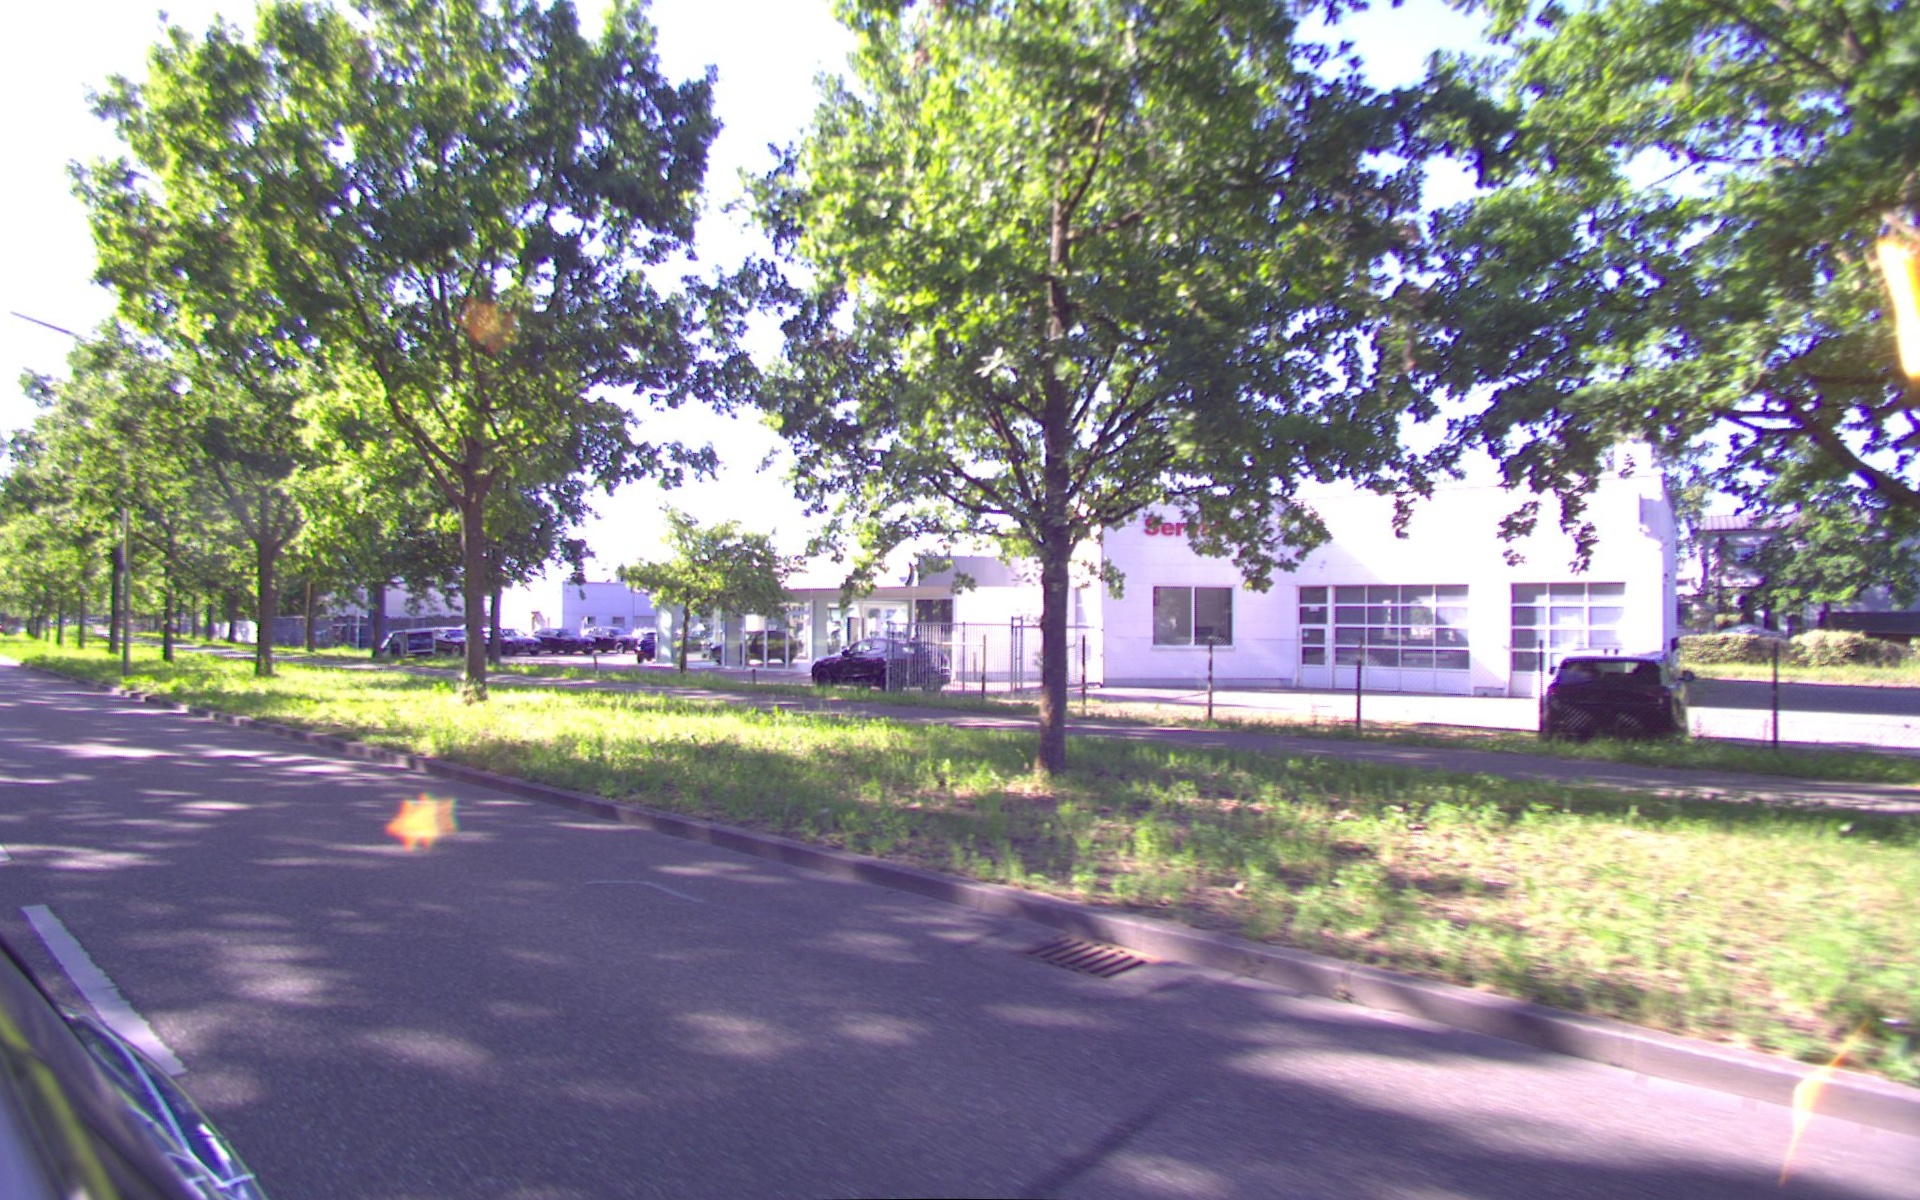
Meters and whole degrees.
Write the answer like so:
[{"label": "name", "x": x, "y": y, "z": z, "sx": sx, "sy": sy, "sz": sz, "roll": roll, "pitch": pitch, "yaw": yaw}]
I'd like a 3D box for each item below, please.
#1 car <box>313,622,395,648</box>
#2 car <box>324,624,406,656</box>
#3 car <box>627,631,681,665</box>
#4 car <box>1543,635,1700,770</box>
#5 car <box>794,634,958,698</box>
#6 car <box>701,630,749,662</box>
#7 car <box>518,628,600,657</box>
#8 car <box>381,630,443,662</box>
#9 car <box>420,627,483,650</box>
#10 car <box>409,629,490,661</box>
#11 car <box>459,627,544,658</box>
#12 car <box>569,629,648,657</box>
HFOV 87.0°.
[{"label": "car", "x": -39.359, "y": 2.270, "z": 65.801, "sx": 4.261, "sy": 1.530, "sz": 1.863, "roll": -1, "pitch": 0, "yaw": -45}, {"label": "car", "x": -36.057, "y": 2.380, "z": 61.417, "sx": 3.940, "sy": 1.755, "sz": 2.002, "roll": -1, "pitch": 0, "yaw": -44}, {"label": "car", "x": -15.935, "y": 2.488, "z": 52.990, "sx": 1.968, "sy": 1.673, "sz": 5.269, "roll": -1, "pitch": -2, "yaw": -9}, {"label": "car", "x": 11.194, "y": 1.584, "z": 17.095, "sx": 1.995, "sy": 1.815, "sz": 3.953, "roll": -1, "pitch": 0, "yaw": 35}, {"label": "car", "x": -2.570, "y": 1.887, "z": 30.136, "sx": 5.013, "sy": 1.610, "sz": 1.972, "roll": -1, "pitch": 0, "yaw": 42}, {"label": "car", "x": -13.005, "y": 2.522, "z": 55.766, "sx": 1.965, "sy": 1.673, "sz": 5.025, "roll": 0, "pitch": -2, "yaw": -20}, {"label": "car", "x": -25.099, "y": 2.630, "z": 63.283, "sx": 5.240, "sy": 1.702, "sz": 1.979, "roll": -1, "pitch": 0, "yaw": 31}, {"label": "car", "x": -26.176, "y": 2.183, "z": 48.362, "sx": 2.531, "sy": 1.481, "sz": 1.430, "roll": 1, "pitch": -2, "yaw": -30}, {"label": "car", "x": -38.465, "y": 2.899, "z": 76.567, "sx": 3.941, "sy": 1.530, "sz": 1.752, "roll": -1, "pitch": 0, "yaw": -45}, {"label": "car", "x": -29.599, "y": 2.578, "z": 58.669, "sx": 4.478, "sy": 1.688, "sz": 1.981, "roll": -1, "pitch": 0, "yaw": 28}, {"label": "car", "x": -27.597, "y": 2.523, "z": 60.887, "sx": 5.237, "sy": 1.730, "sz": 1.980, "roll": -1, "pitch": 0, "yaw": 29}, {"label": "car", "x": -22.821, "y": 2.745, "z": 65.628, "sx": 5.240, "sy": 1.673, "sz": 1.979, "roll": -1, "pitch": 0, "yaw": 31}]
